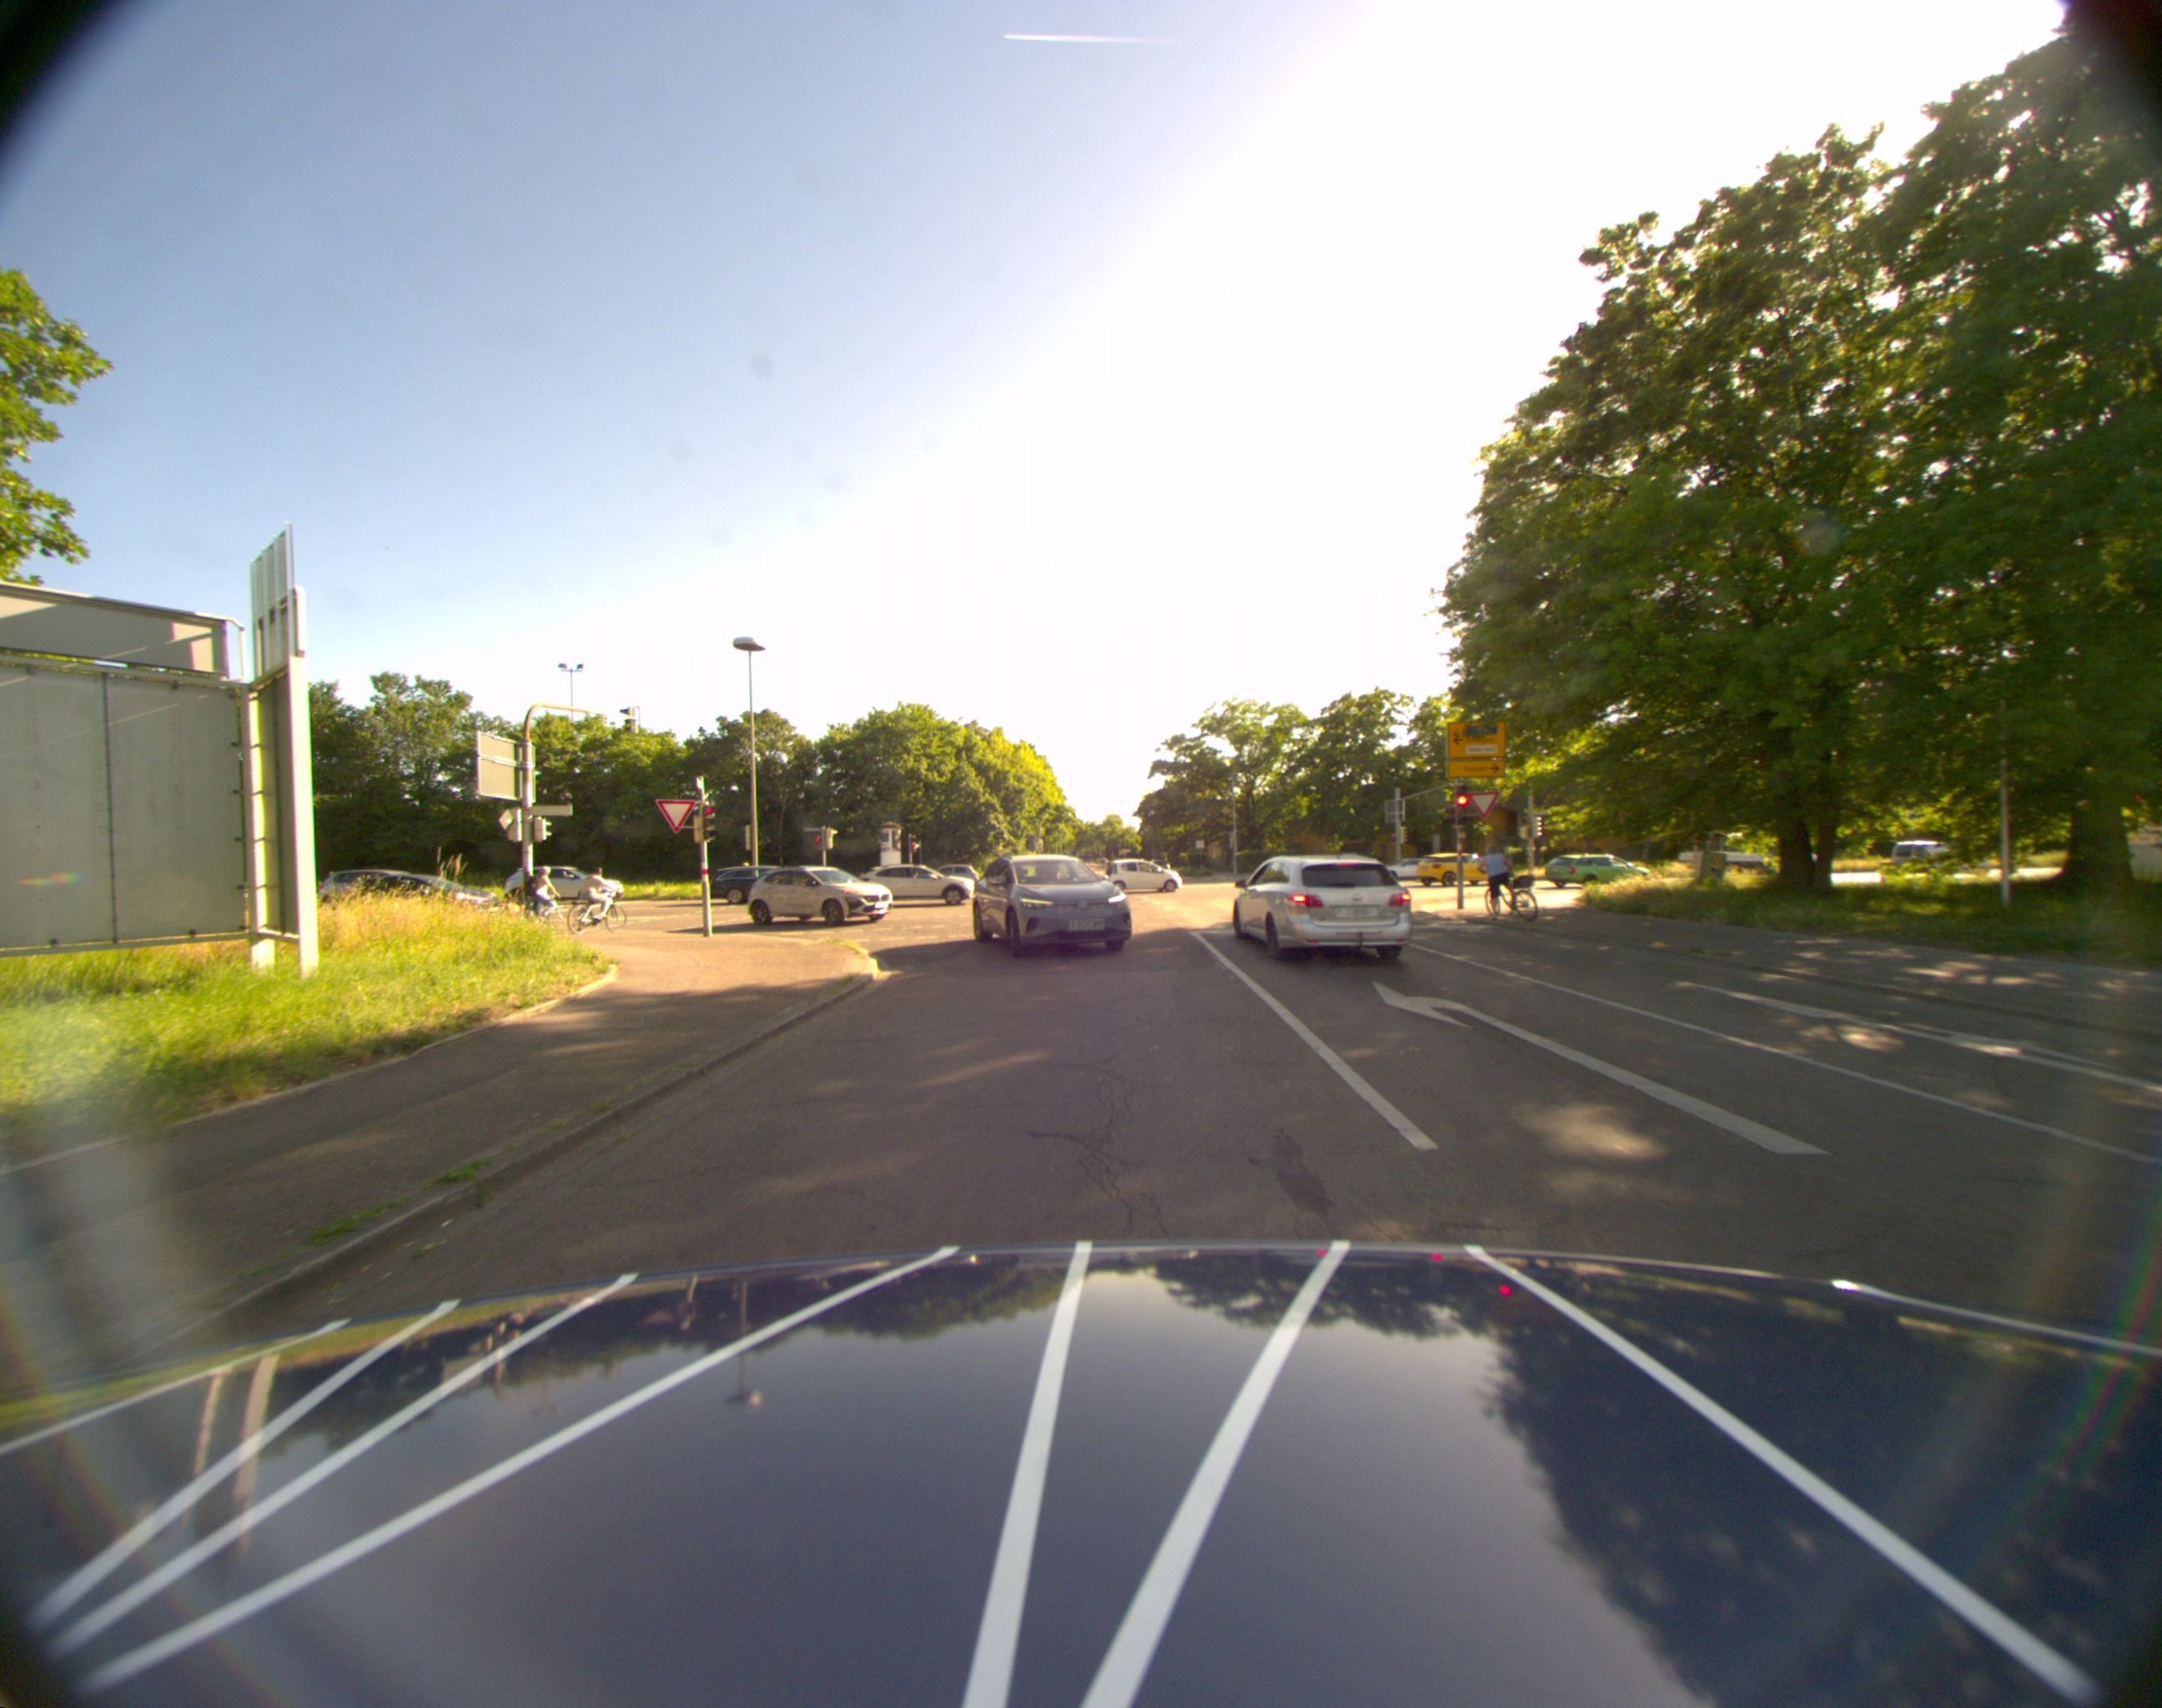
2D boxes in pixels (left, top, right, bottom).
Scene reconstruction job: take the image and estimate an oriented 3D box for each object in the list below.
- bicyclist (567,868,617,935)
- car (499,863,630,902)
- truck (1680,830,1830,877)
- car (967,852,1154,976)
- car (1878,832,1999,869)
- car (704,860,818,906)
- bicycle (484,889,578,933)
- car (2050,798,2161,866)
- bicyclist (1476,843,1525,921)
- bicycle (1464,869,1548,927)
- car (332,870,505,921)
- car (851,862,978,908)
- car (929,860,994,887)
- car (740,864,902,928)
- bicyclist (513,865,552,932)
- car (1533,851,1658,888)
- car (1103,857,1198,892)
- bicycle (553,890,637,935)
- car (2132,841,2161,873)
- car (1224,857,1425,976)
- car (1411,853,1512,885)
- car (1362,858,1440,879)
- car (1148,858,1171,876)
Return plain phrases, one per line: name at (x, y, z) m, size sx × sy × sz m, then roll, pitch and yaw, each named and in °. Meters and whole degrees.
bicyclist at (-12.196, 1.190, 18.956) m, size 0.542 × 1.625 × 0.809 m, roll 1°, pitch -3°, yaw 12°
car at (-21.792, 1.164, 32.220) m, size 4.195 × 1.528 × 1.835 m, roll -1°, pitch 0°, yaw -11°
truck at (34.927, -0.042, 39.418) m, size 6.776 × 2.296 × 2.189 m, roll -1°, pitch 0°, yaw -11°
car at (-0.564, 0.855, 13.251) m, size 1.996 × 1.631 × 4.356 m, roll -1°, pitch 2°, yaw -20°
car at (41.958, -0.196, 37.207) m, size 4.365 × 1.719 × 1.918 m, roll -1°, pitch 2°, yaw -11°
car at (-12.733, 1.125, 30.486) m, size 4.003 × 1.532 × 1.621 m, roll -2°, pitch 3°, yaw -18°
bicycle at (-14.082, 1.443, 19.511) m, size 0.529 × 1.070 × 1.874 m, roll 1°, pitch -2°, yaw 30°
car at (24.716, -0.487, 16.643) m, size 1.533 × 1.503 × 3.992 m, roll -1°, pitch 2°, yaw -20°
bicyclist at (9.084, 0.601, 16.465) m, size 0.542 × 1.632 × 0.829 m, roll -1°, pitch 0°, yaw -4°
bicycle at (9.105, 0.902, 16.372) m, size 0.529 × 1.135 × 2.025 m, roll -1°, pitch 0°, yaw -4°
car at (-21.588, 1.317, 24.923) m, size 3.912 × 1.432 × 1.690 m, roll -1°, pitch 2°, yaw -11°
car at (-6.009, 1.089, 27.842) m, size 4.365 × 1.477 × 1.918 m, roll -1°, pitch 2°, yaw -9°
car at (-6.903, 1.108, 43.951) m, size 3.598 × 1.423 × 1.551 m, roll -1°, pitch 1°, yaw -10°
car at (-7.119, 1.123, 20.801) m, size 4.111 × 1.564 × 1.695 m, roll -2°, pitch 1°, yaw 25°
bicyclist at (-14.073, 1.131, 19.513) m, size 0.525 × 1.686 × 0.587 m, roll 1°, pitch -1°, yaw 30°
car at (22.705, 0.651, 33.597) m, size 4.364 × 1.477 × 1.919 m, roll -1°, pitch 2°, yaw -6°
car at (3.086, 0.897, 33.967) m, size 3.912 × 1.431 × 1.691 m, roll -1°, pitch 1°, yaw -11°
bicycle at (-12.151, 1.456, 19.077) m, size 0.530 × 1.069 × 1.873 m, roll 1°, pitch -3°, yaw 14°
car at (58.357, 0.142, 39.982) m, size 4.392 × 1.674 × 1.826 m, roll -1°, pitch 1°, yaw -10°
car at (3.531, 0.800, 12.046) m, size 1.841 × 1.480 × 4.891 m, roll 0°, pitch 0°, yaw 3°
car at (18.039, 0.682, 36.049) m, size 4.121 × 1.431 × 1.691 m, roll -1°, pitch 1°, yaw -11°
car at (20.764, 0.920, 49.290) m, size 4.502 × 1.221 × 1.691 m, roll -1°, pitch 0°, yaw -12°
car at (6.912, 1.118, 67.470) m, size 1.639 × 1.391 × 3.889 m, roll 0°, pitch 2°, yaw 0°
